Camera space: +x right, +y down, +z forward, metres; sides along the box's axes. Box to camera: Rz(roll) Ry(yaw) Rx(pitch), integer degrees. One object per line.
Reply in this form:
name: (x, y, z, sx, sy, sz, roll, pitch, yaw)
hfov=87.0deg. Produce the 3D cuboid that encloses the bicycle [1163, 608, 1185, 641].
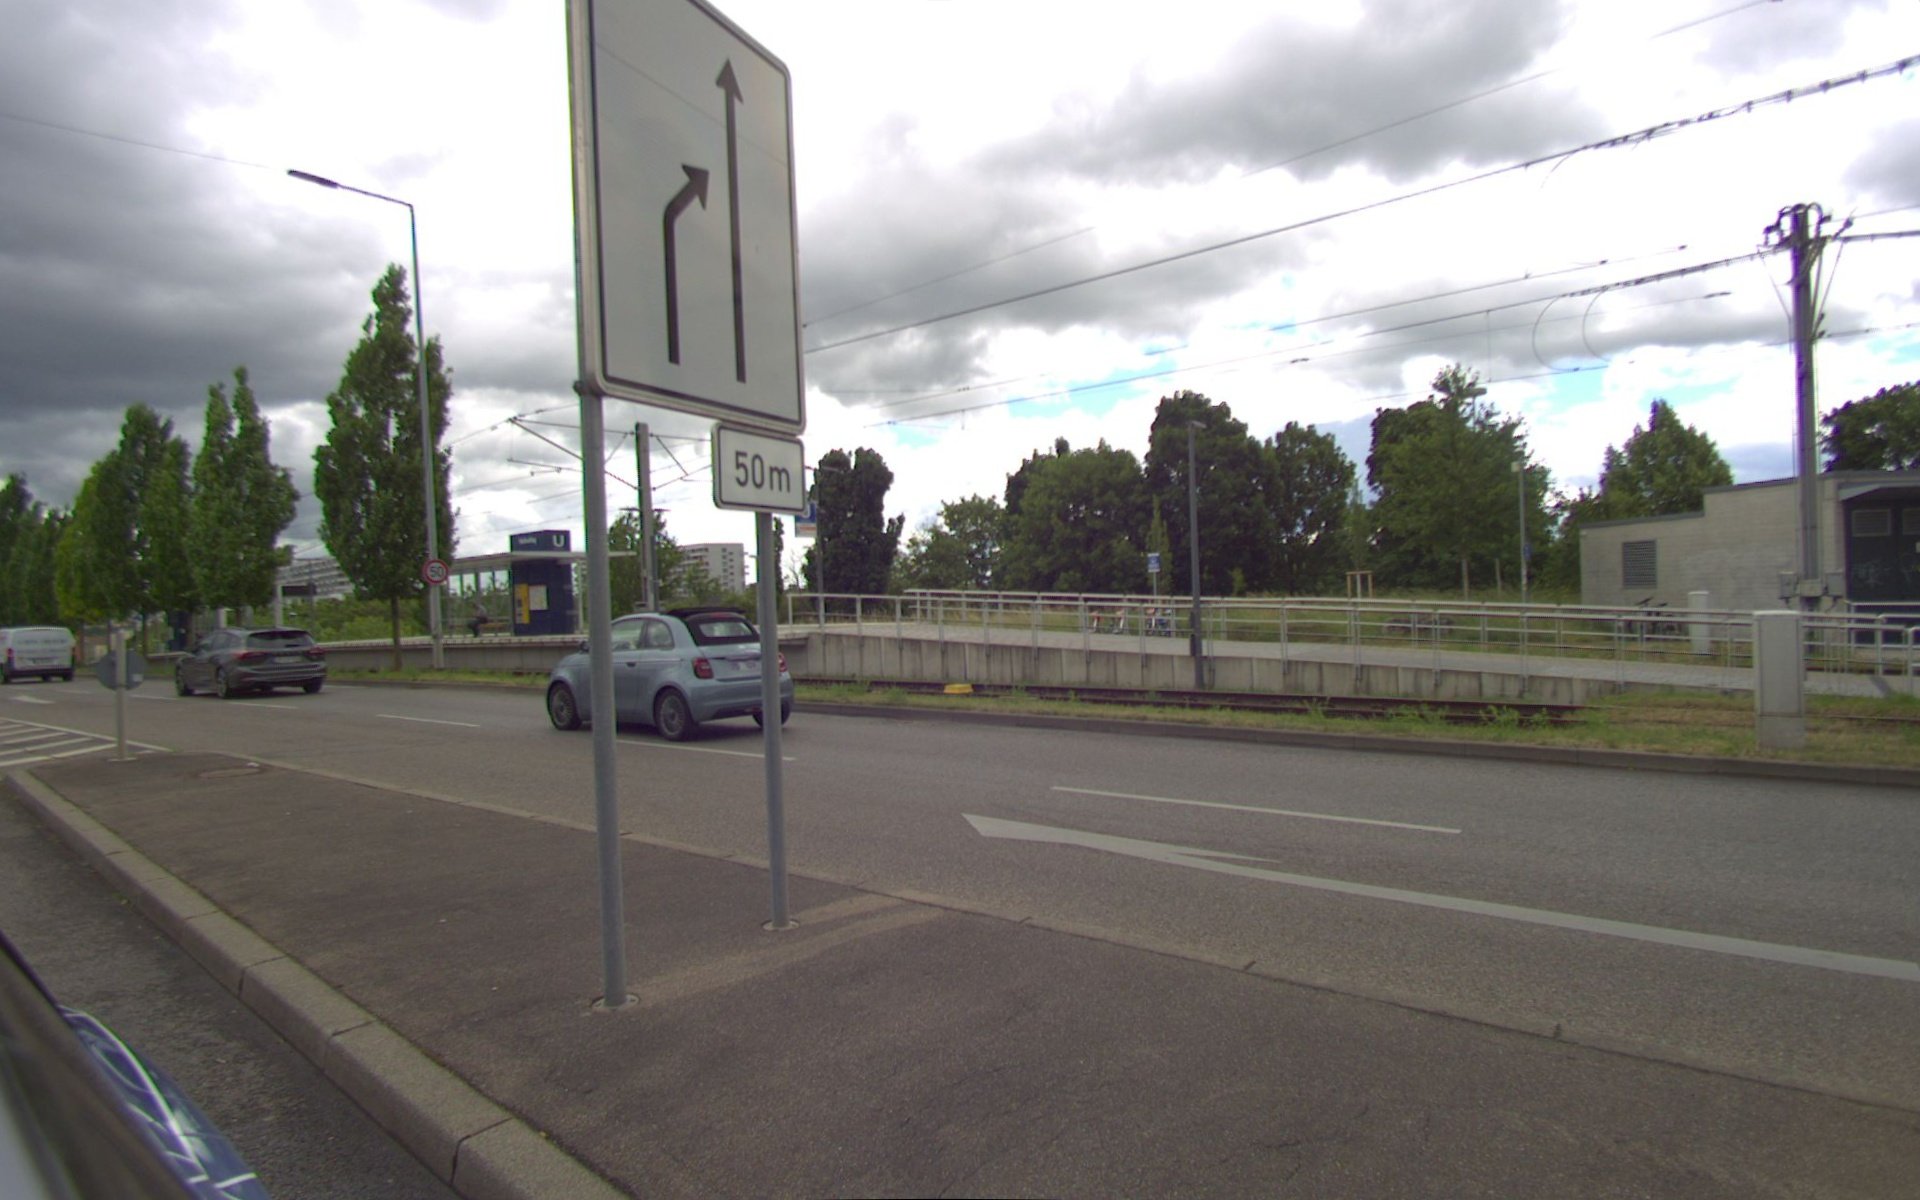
bicycle: (7.127, 0.809, 33.682, 0.531, 1.039, 1.804, -1, 0, 16)

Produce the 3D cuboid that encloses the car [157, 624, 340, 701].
car: (-15.381, 1.273, 21.807, 4.422, 1.435, 1.854, -1, 0, 35)

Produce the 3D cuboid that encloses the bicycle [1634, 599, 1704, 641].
bicycle: (18.253, 0.502, 26.103, 0.529, 1.039, 1.813, -1, 0, 1)

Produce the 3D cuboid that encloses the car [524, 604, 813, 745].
car: (-3.776, 0.839, 12.929, 3.594, 1.540, 1.740, -1, 0, 37)

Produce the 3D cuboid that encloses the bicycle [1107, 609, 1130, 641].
bicycle: (5.393, 0.852, 34.446, 0.531, 1.039, 1.804, -1, 0, 16)

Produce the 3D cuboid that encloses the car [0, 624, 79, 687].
car: (-32.757, 1.876, 35.346, 5.364, 1.979, 1.898, -1, 0, 37)

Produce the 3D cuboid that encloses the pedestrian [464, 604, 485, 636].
pedestrian: (-18.234, 0.745, 38.021, 0.447, 1.163, 0.593, -1, 0, 41)

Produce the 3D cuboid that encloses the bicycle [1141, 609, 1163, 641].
bicycle: (6.449, 0.821, 33.993, 0.531, 1.039, 1.804, -1, 0, 16)

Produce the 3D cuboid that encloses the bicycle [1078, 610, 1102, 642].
bicycle: (4.491, 0.887, 34.827, 0.531, 1.039, 1.804, -1, 0, 16)
